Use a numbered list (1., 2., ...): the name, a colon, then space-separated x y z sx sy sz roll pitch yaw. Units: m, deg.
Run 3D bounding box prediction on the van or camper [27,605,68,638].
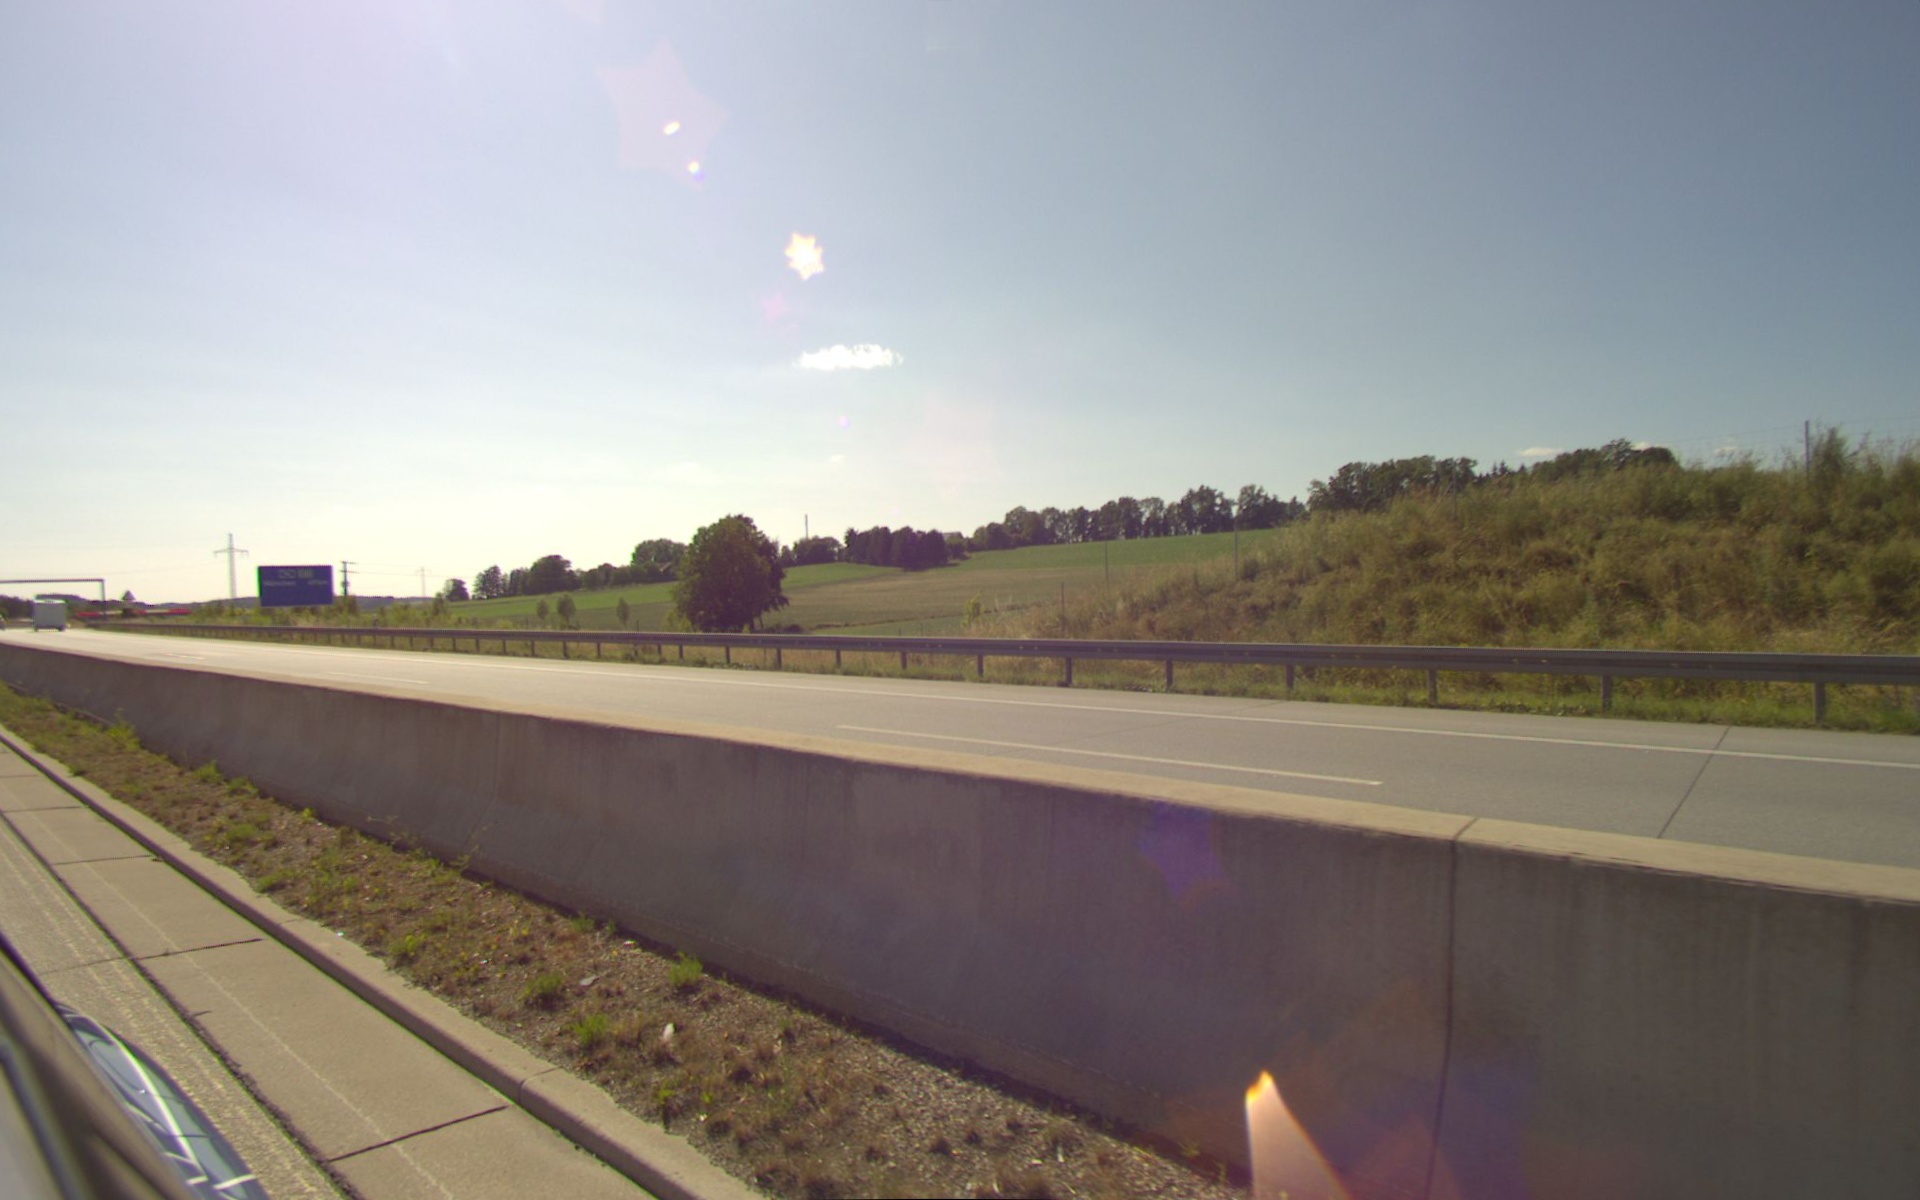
1. van or camper: -88.901 2.090 98.527 2.561 3.104 7.441 1 -2 -45
